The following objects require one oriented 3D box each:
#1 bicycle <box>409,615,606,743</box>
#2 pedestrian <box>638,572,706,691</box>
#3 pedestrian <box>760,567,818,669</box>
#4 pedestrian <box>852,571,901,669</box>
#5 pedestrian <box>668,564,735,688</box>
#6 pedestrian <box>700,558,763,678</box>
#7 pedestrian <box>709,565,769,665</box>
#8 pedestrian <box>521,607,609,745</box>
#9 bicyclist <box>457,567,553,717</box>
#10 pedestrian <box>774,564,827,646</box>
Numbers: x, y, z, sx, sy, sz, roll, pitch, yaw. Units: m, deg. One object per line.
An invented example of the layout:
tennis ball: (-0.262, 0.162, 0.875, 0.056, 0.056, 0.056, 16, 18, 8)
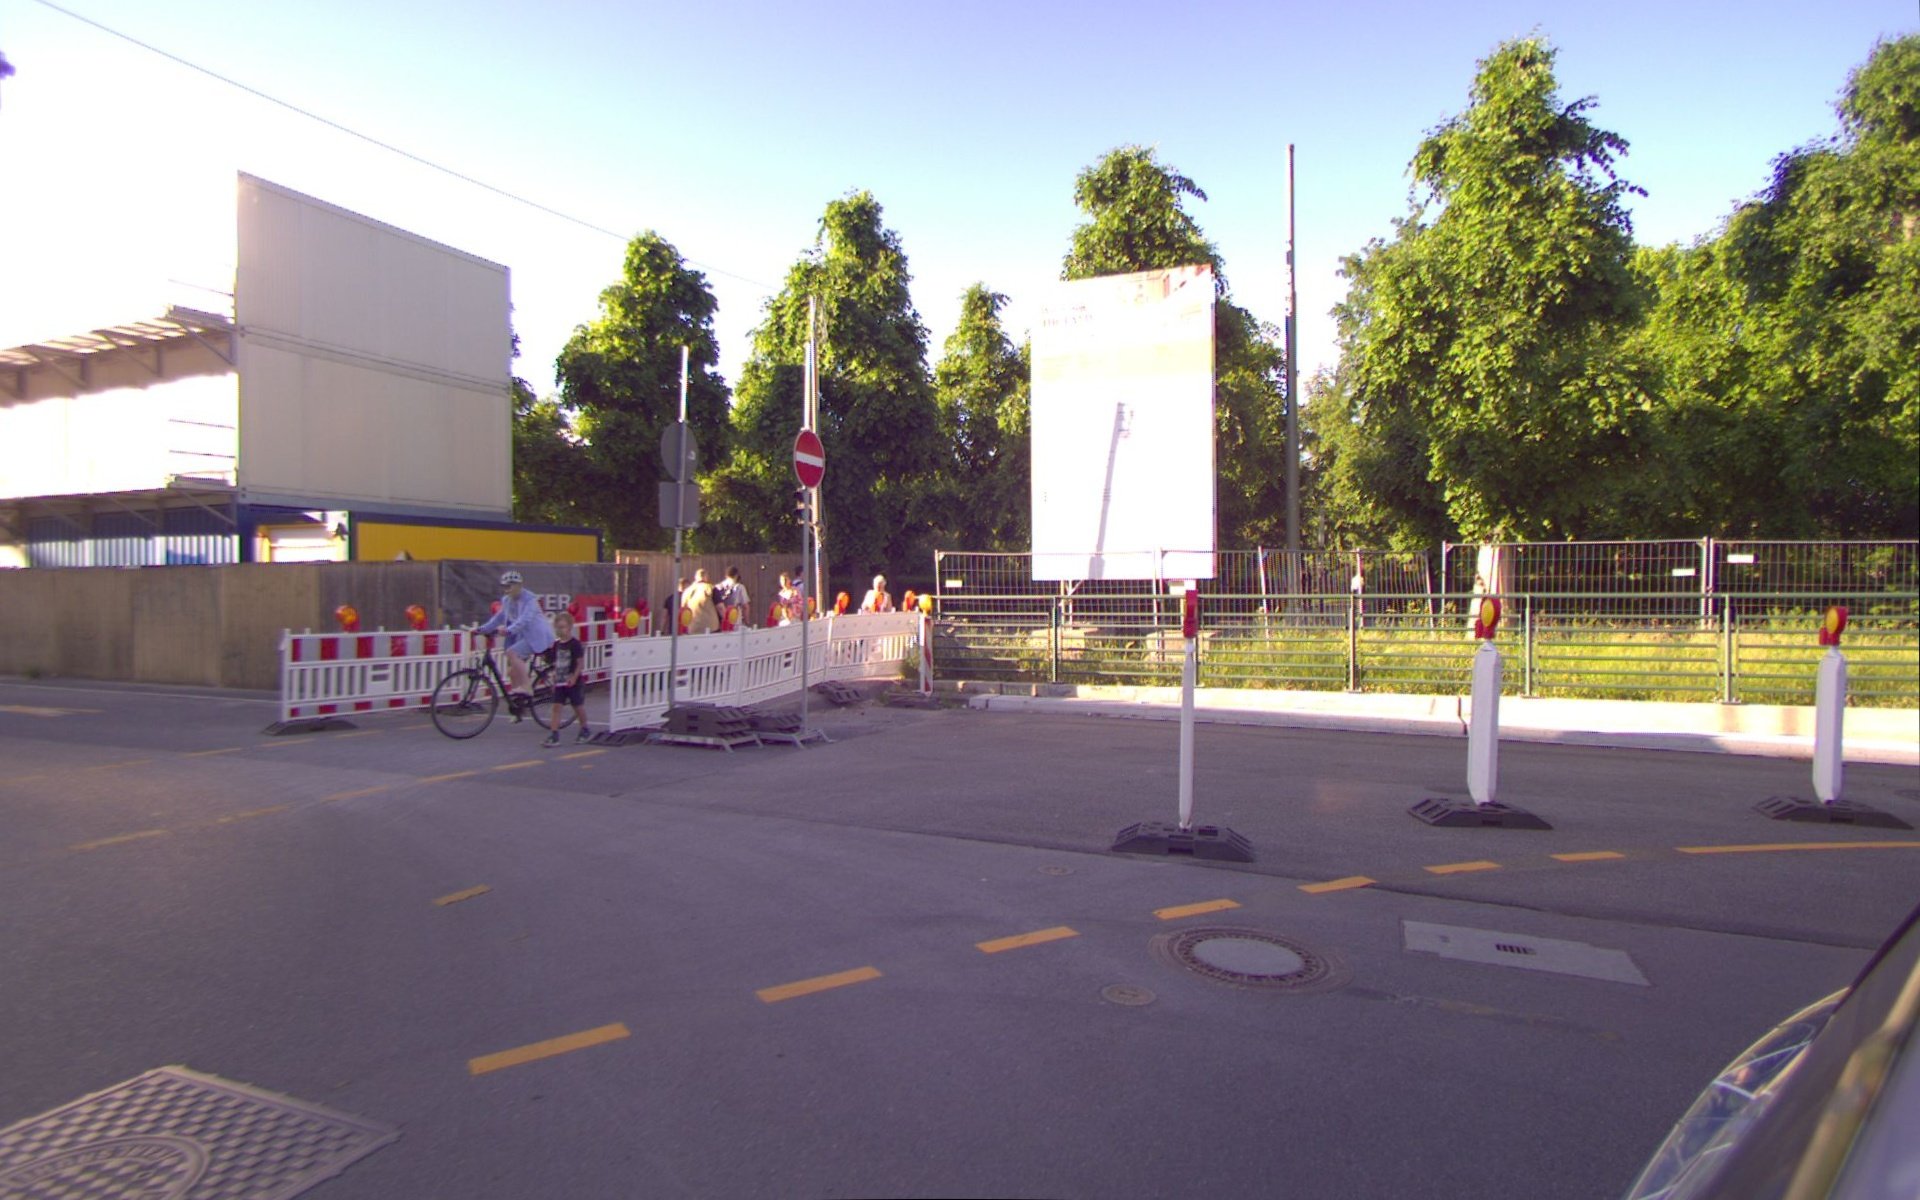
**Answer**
bicycle: (-4.793, 0.789, 10.870, 0.474, 1.216, 1.973, 0, 0, 35)
pedestrian: (-4.497, 0.460, 15.818, 0.716, 1.793, 0.733, 1, 2, 25)
pedestrian: (-2.804, 0.276, 16.665, 0.637, 1.623, 0.733, 1, 2, 25)
pedestrian: (-1.411, 0.319, 17.024, 0.652, 1.585, 0.747, -1, 2, -19)
pedestrian: (-3.733, 0.346, 14.642, 0.615, 1.737, 0.733, 1, 2, 25)
pedestrian: (-3.517, 0.252, 15.592, 0.615, 1.793, 0.733, 1, 2, 25)
pedestrian: (-3.747, 0.231, 17.205, 0.659, 1.638, 0.764, 1, 2, 25)
pedestrian: (-3.922, 0.734, 10.068, 0.488, 1.316, 0.615, 1, -2, 24)
bicyclist: (-4.872, 0.423, 10.855, 0.681, 1.535, 0.695, 0, 0, 34)
pedestrian: (-2.951, 0.072, 18.760, 0.659, 1.480, 0.764, 1, 2, 25)
